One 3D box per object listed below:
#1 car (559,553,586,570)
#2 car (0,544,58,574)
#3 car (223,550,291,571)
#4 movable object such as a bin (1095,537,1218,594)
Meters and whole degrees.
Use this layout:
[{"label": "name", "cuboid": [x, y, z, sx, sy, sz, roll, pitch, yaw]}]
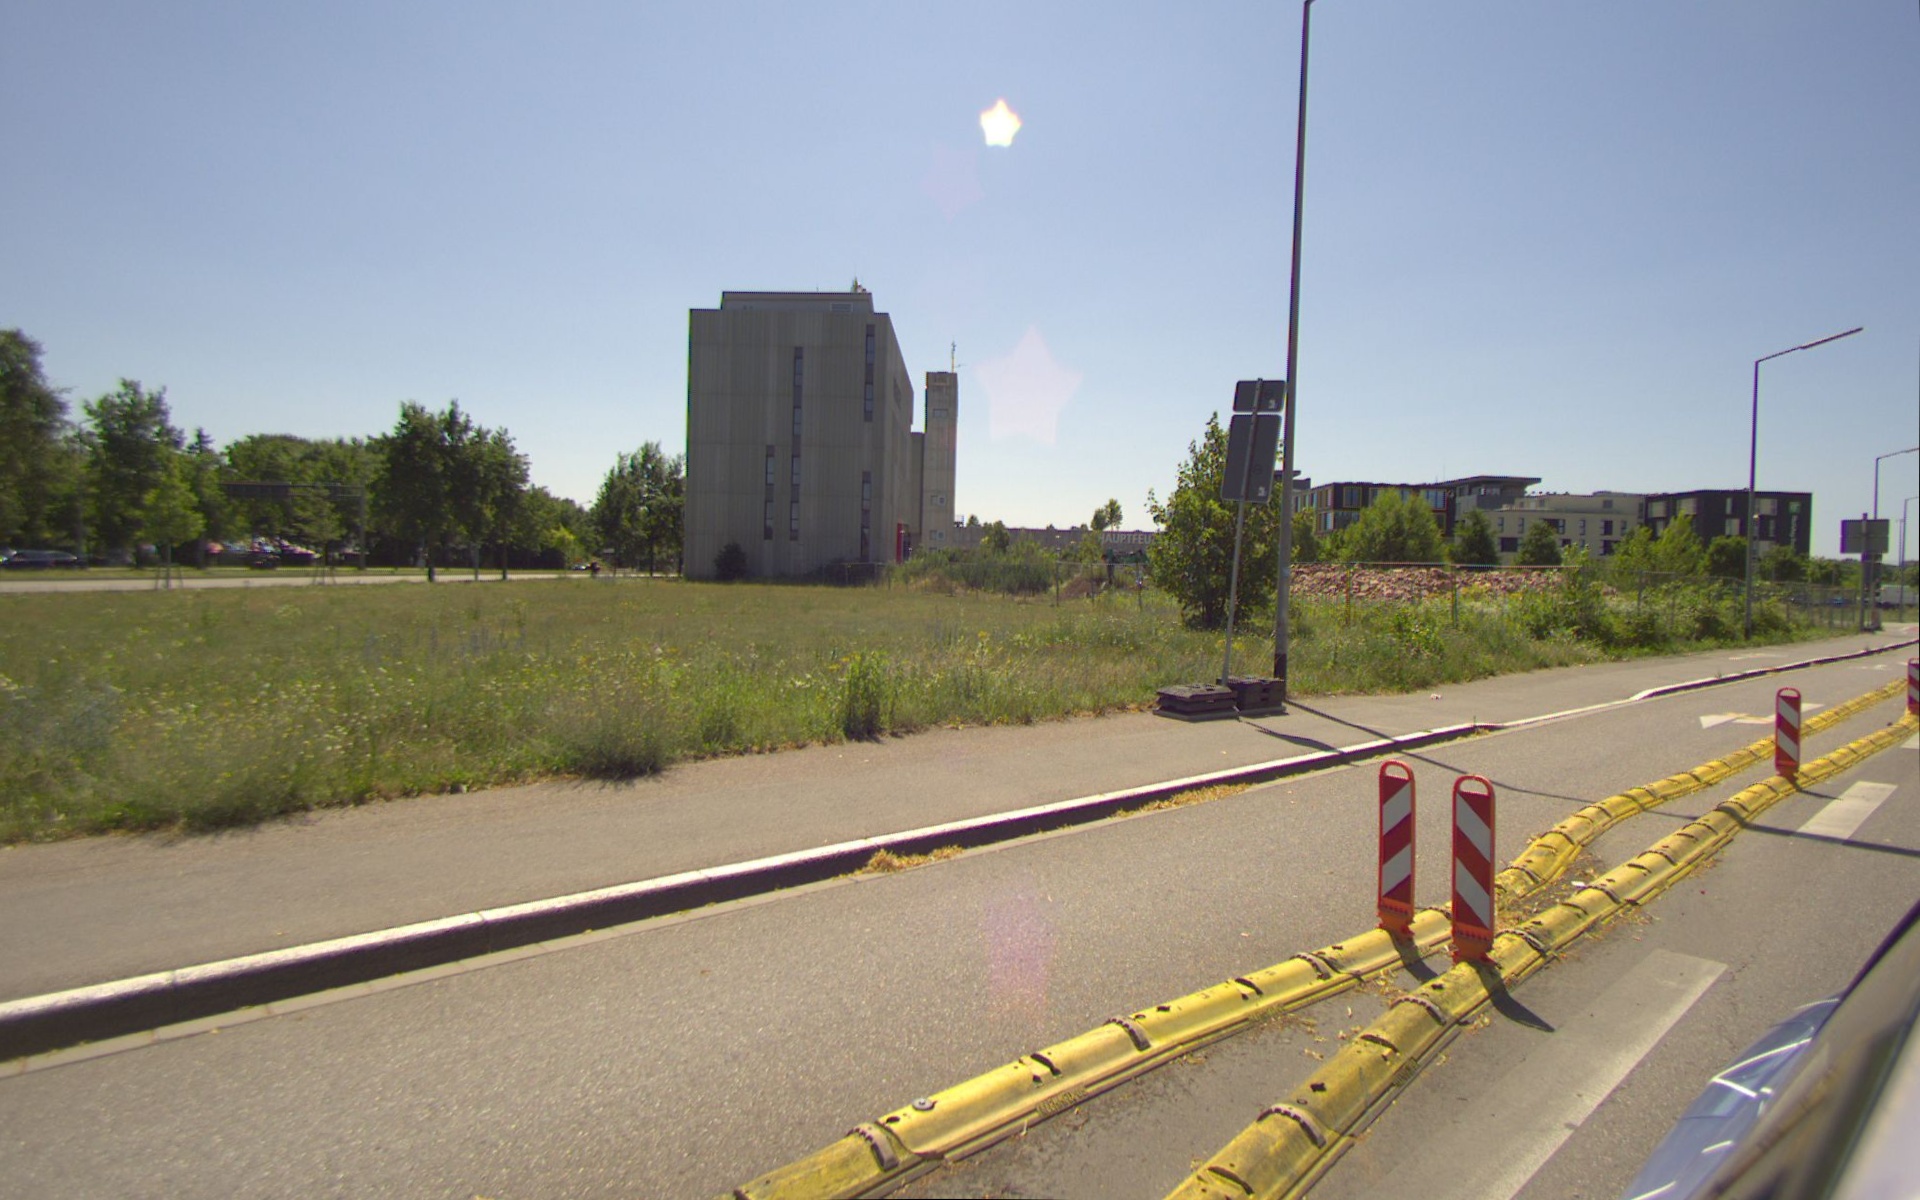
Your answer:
[{"label": "car", "cuboid": [-50.222, -4.983, 131.114, 1.962, 2.039, 4.000, 0, 1, 0]}, {"label": "car", "cuboid": [-50.614, -2.152, 53.950, 1.688, 1.493, 3.797, 0, 1, 0]}, {"label": "car", "cuboid": [-51.194, -2.859, 73.800, 1.830, 1.440, 4.407, 1, 1, 1]}, {"label": "movable object such as a bin", "cuboid": [11.817, -2.004, 60.561, 7.459, 3.188, 2.815, -1, 1, -34]}]
